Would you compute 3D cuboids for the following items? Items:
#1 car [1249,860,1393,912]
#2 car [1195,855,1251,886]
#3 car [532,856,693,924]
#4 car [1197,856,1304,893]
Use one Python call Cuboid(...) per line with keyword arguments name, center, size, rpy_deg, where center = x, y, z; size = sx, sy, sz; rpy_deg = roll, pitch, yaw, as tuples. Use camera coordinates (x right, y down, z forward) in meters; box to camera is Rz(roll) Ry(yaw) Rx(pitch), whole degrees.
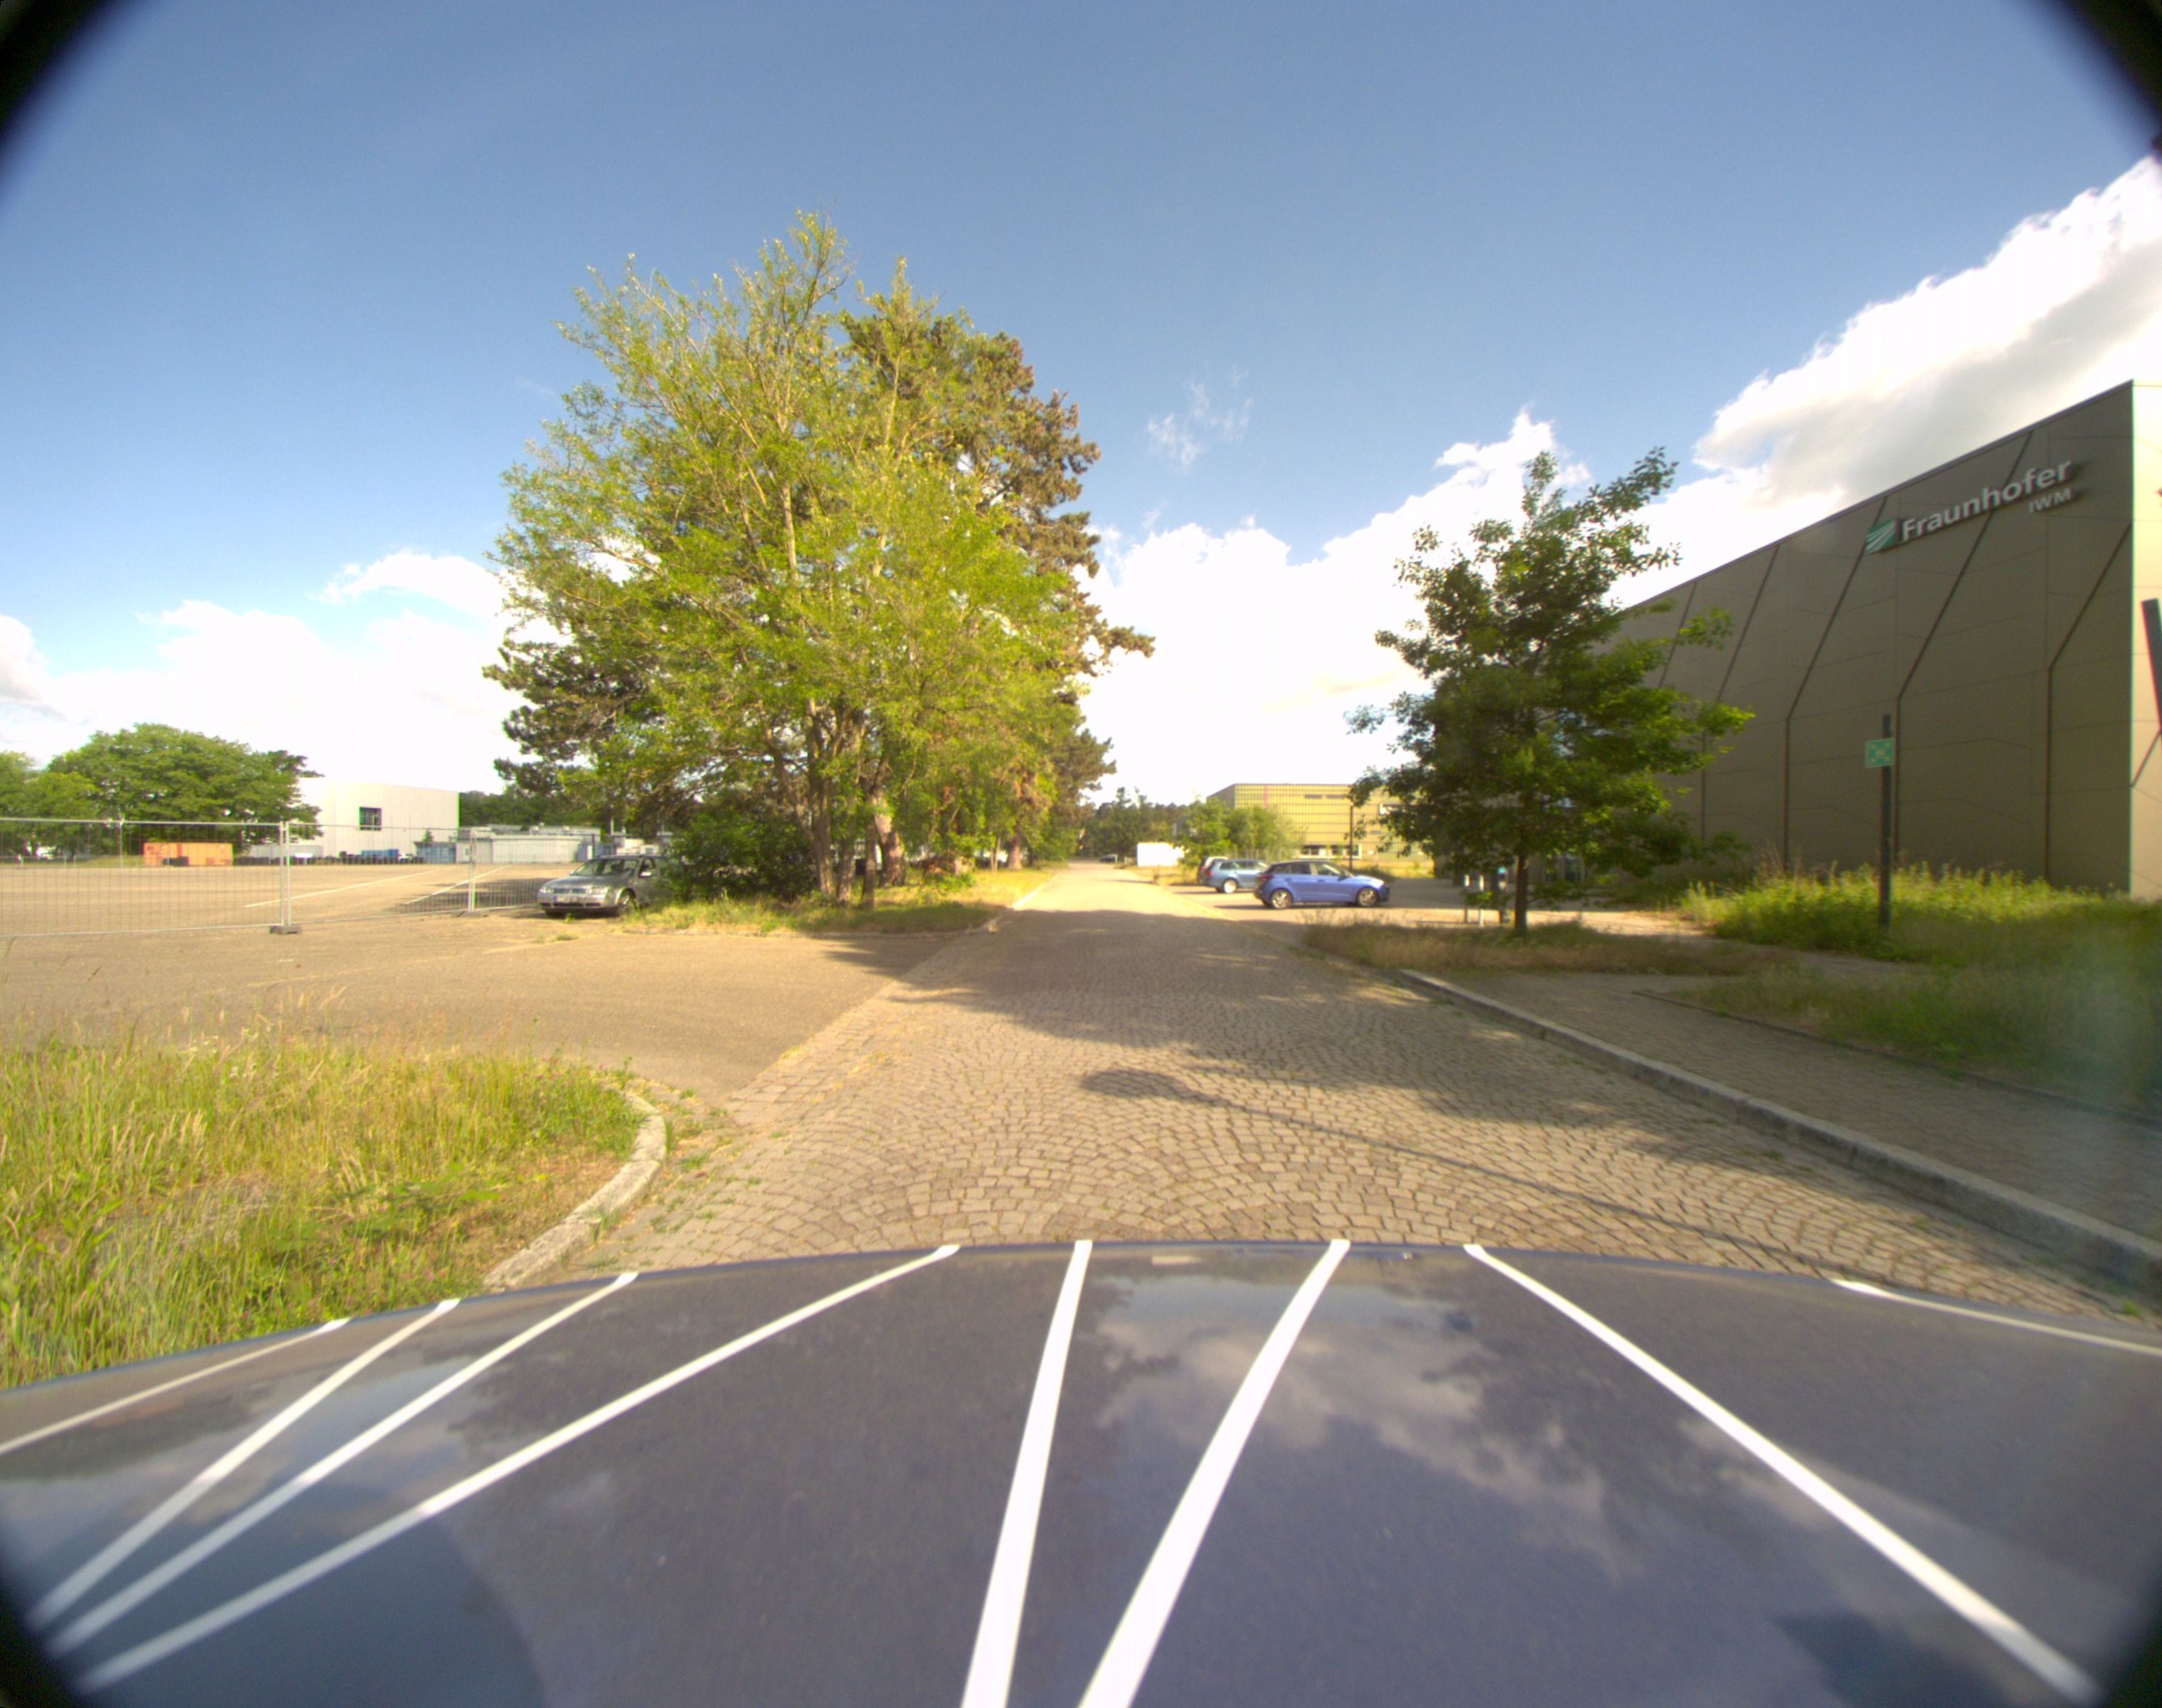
Cuboid(name="car", center=(7.345, 0.956, 23.492), size=(3.918, 1.459, 1.735), rpy_deg=(-1, 0, 3))
Cuboid(name="car", center=(7.532, 0.848, 40.336), size=(2.652, 1.559, 1.481), rpy_deg=(-1, 0, -1))
Cuboid(name="car", center=(-11.172, 0.781, 18.467), size=(1.579, 1.435, 3.985), rpy_deg=(0, 0, -3))
Cuboid(name="car", center=(7.298, 0.866, 32.947), size=(4.180, 1.465, 1.734), rpy_deg=(-1, 0, -2))
